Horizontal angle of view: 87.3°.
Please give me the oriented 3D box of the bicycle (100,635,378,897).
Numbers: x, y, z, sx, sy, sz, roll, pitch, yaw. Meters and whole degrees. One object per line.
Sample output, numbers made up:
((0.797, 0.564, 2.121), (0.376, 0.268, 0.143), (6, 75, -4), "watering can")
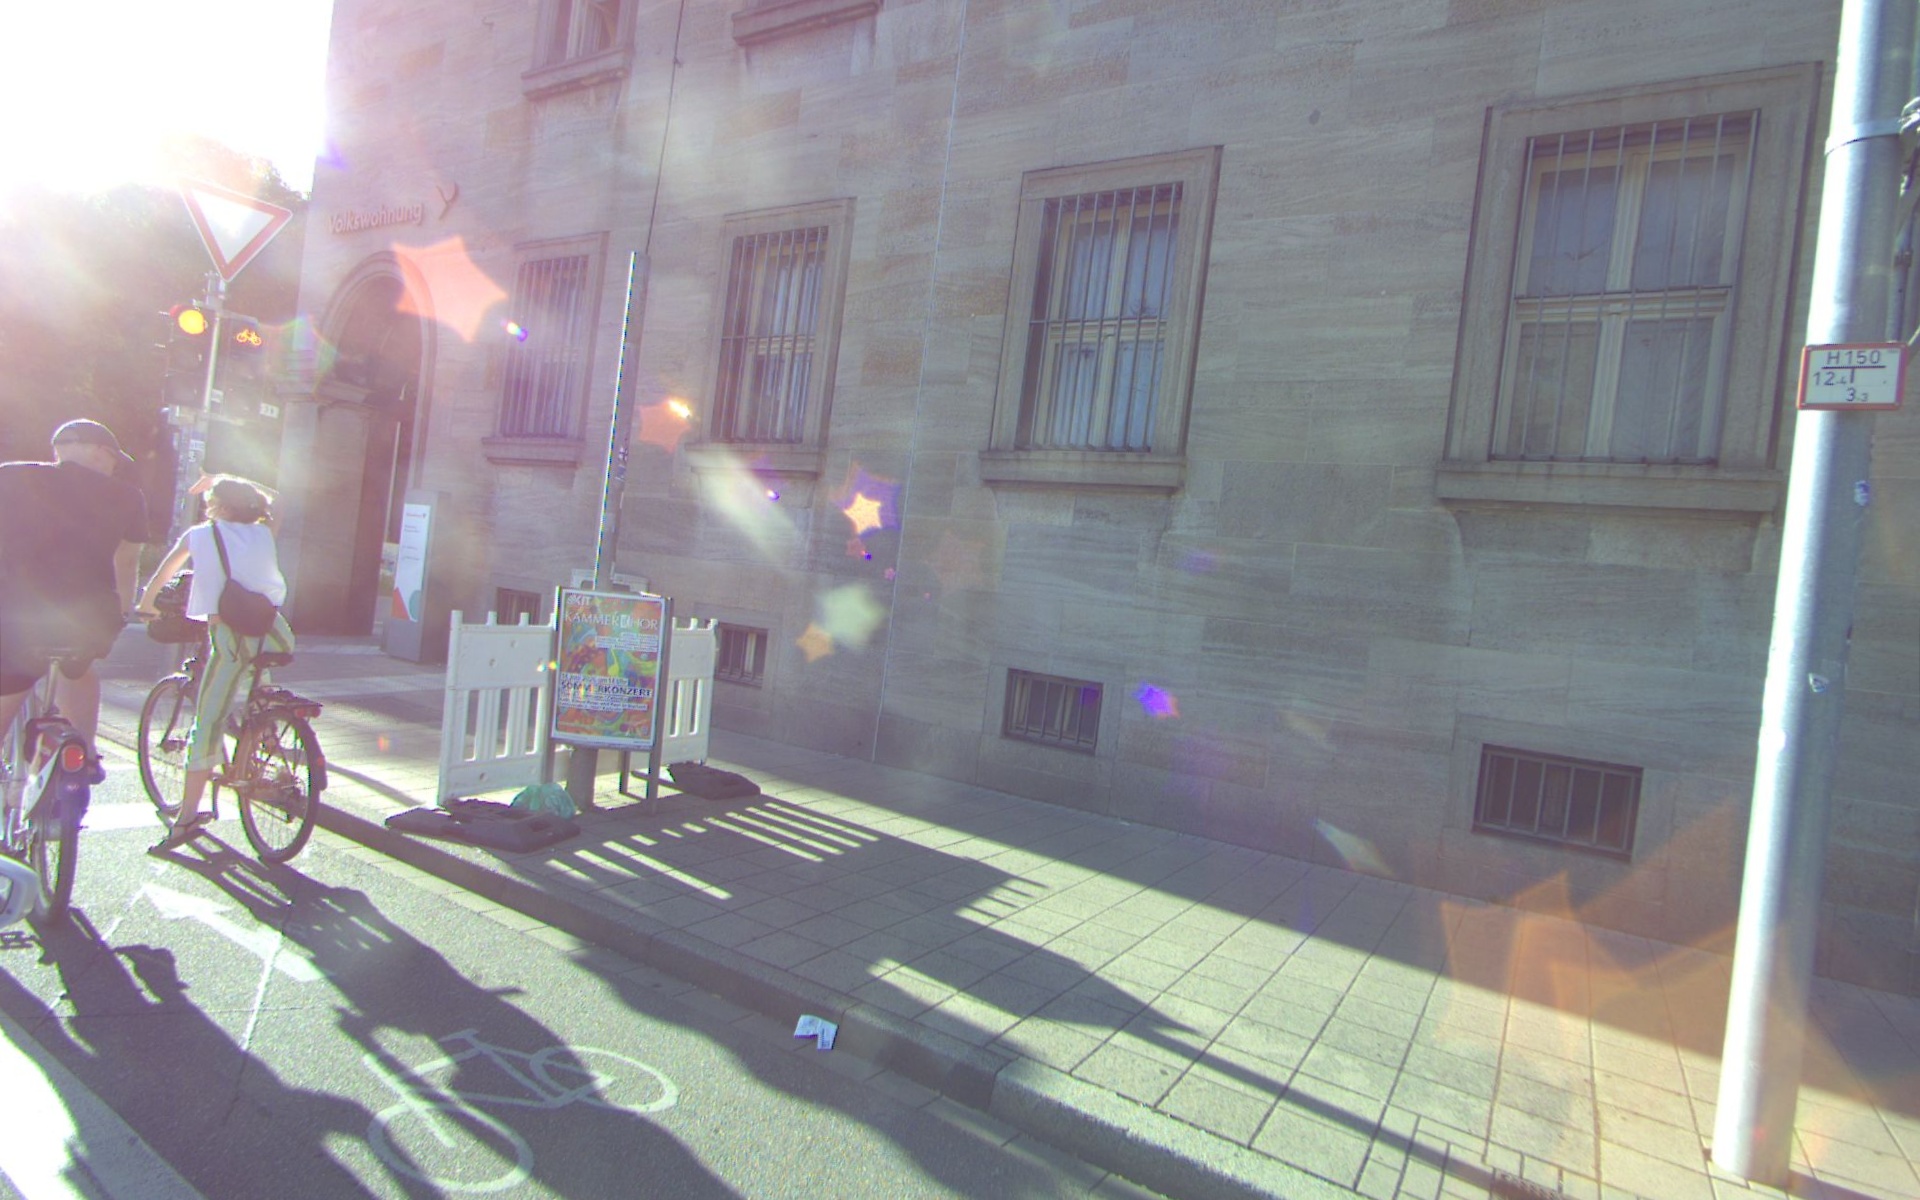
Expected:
((-3.605, 0.735, 4.957), (1.920, 0.887, 0.427), (7, 0, 35), "bicycle")

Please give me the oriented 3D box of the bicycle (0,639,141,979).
((-3.755, 0.713, 3.989), (1.923, 0.916, 0.388), (7, 0, 41), "bicycle")

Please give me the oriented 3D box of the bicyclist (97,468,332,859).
((-3.588, 0.268, 4.835), (0.845, 1.700, 0.522), (7, 1, 35), "bicyclist")

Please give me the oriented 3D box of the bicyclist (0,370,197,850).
((-3.538, 0.038, 3.896), (0.647, 1.698, 0.669), (7, 1, 40), "bicyclist")
